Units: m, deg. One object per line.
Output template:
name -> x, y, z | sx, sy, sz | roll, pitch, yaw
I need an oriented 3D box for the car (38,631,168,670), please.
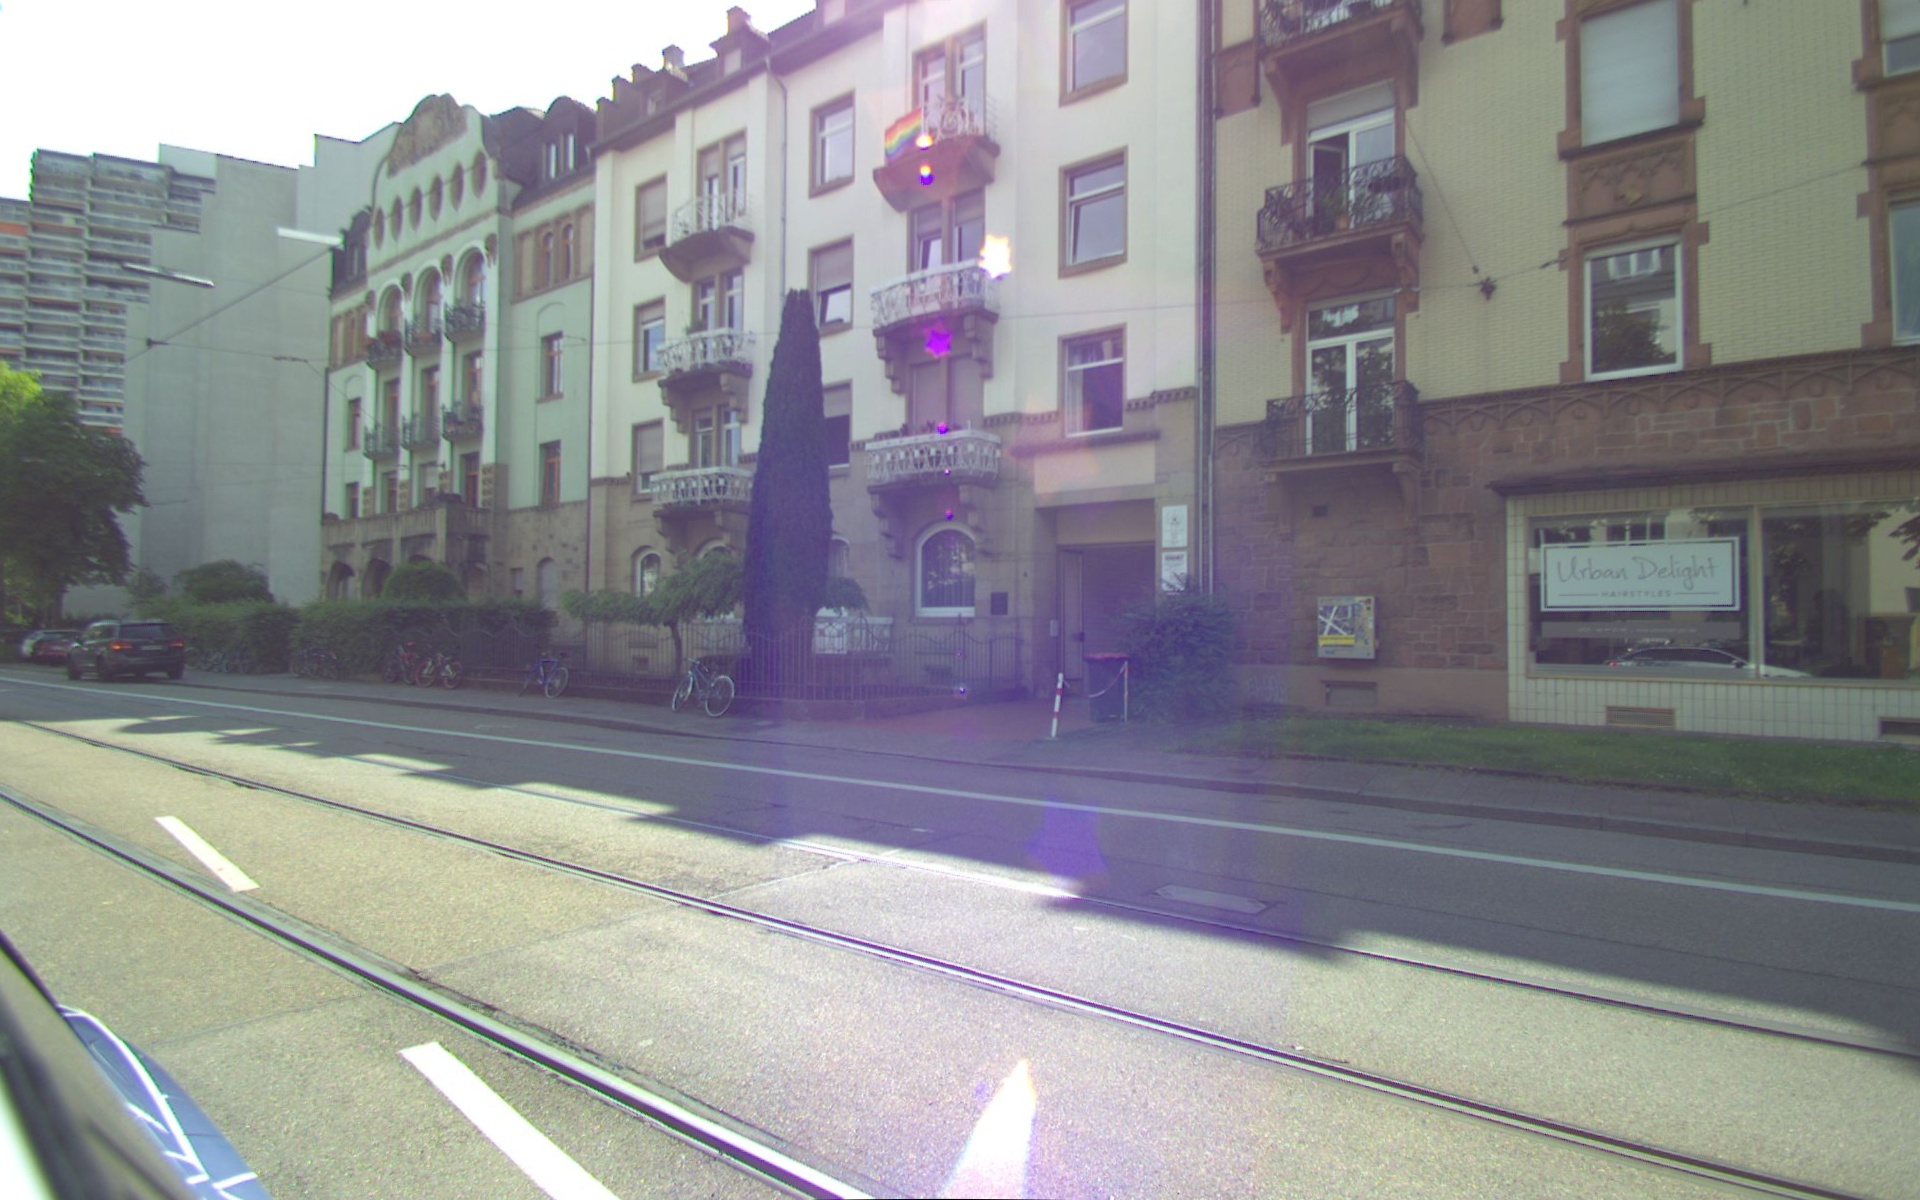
car -> -34.822, 2.026, 41.182 | 3.939, 1.519, 2.002 | 2, -3, -43

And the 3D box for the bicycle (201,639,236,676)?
bicycle -> -23.908, 1.832, 32.613 | 1.785, 1.144, 0.462 | -1, -3, 39

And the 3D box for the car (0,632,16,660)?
car -> -53.323, 2.451, 54.223 | 3.939, 1.519, 2.002 | 2, -3, -43

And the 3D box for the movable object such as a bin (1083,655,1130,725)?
movable object such as a bin -> 2.278, 1.384, 15.687 | 0.698, 1.037, 0.475 | 0, -2, 12

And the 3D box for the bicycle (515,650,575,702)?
bicycle -> -8.479, 1.532, 20.662 | 1.788, 1.003, 0.461 | -2, -3, 45

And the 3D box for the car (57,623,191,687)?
car -> -24.099, 1.544, 29.134 | 4.392, 1.708, 1.899 | -1, -3, 35

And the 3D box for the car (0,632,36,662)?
car -> -50.622, 2.428, 52.456 | 3.939, 1.519, 2.002 | 2, -3, -43

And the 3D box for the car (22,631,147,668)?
car -> -37.517, 2.103, 43.422 | 3.939, 1.519, 2.002 | 2, -3, -43

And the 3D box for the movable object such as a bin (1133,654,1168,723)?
movable object such as a bin -> 2.950, 1.368, 15.708 | 0.531, 1.037, 0.475 | 0, -2, 10

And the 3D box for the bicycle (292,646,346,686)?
bicycle -> -16.987, 1.724, 26.788 | 1.979, 1.003, 0.597 | -1, -3, 39

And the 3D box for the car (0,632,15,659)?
car -> -55.525, 2.522, 56.514 | 3.939, 1.519, 2.002 | 2, -3, -43

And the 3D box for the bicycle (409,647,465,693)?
bicycle -> -12.079, 1.598, 23.340 | 1.785, 1.003, 0.462 | -1, -3, 39

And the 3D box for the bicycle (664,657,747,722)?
bicycle -> -4.389, 1.508, 17.382 | 0.461, 1.003, 1.980 | 2, -3, -43

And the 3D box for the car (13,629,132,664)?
car -> -40.136, 2.094, 45.822 | 3.939, 1.519, 2.002 | 2, -3, -43

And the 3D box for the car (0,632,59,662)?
car -> -47.931, 2.346, 50.821 | 3.939, 1.519, 2.002 | 2, -3, -43

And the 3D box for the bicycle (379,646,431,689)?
bicycle -> -13.502, 1.630, 24.595 | 1.785, 1.003, 0.462 | -1, -3, 39

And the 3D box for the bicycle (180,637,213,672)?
bicycle -> -25.569, 1.824, 33.894 | 1.785, 1.144, 0.462 | -1, -3, 39

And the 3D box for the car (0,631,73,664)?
car -> -45.465, 2.275, 48.857 | 3.939, 1.519, 2.002 | 2, -3, -43

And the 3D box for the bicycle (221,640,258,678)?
bicycle -> -22.376, 1.817, 31.420 | 1.785, 1.144, 0.462 | -1, -3, 39
